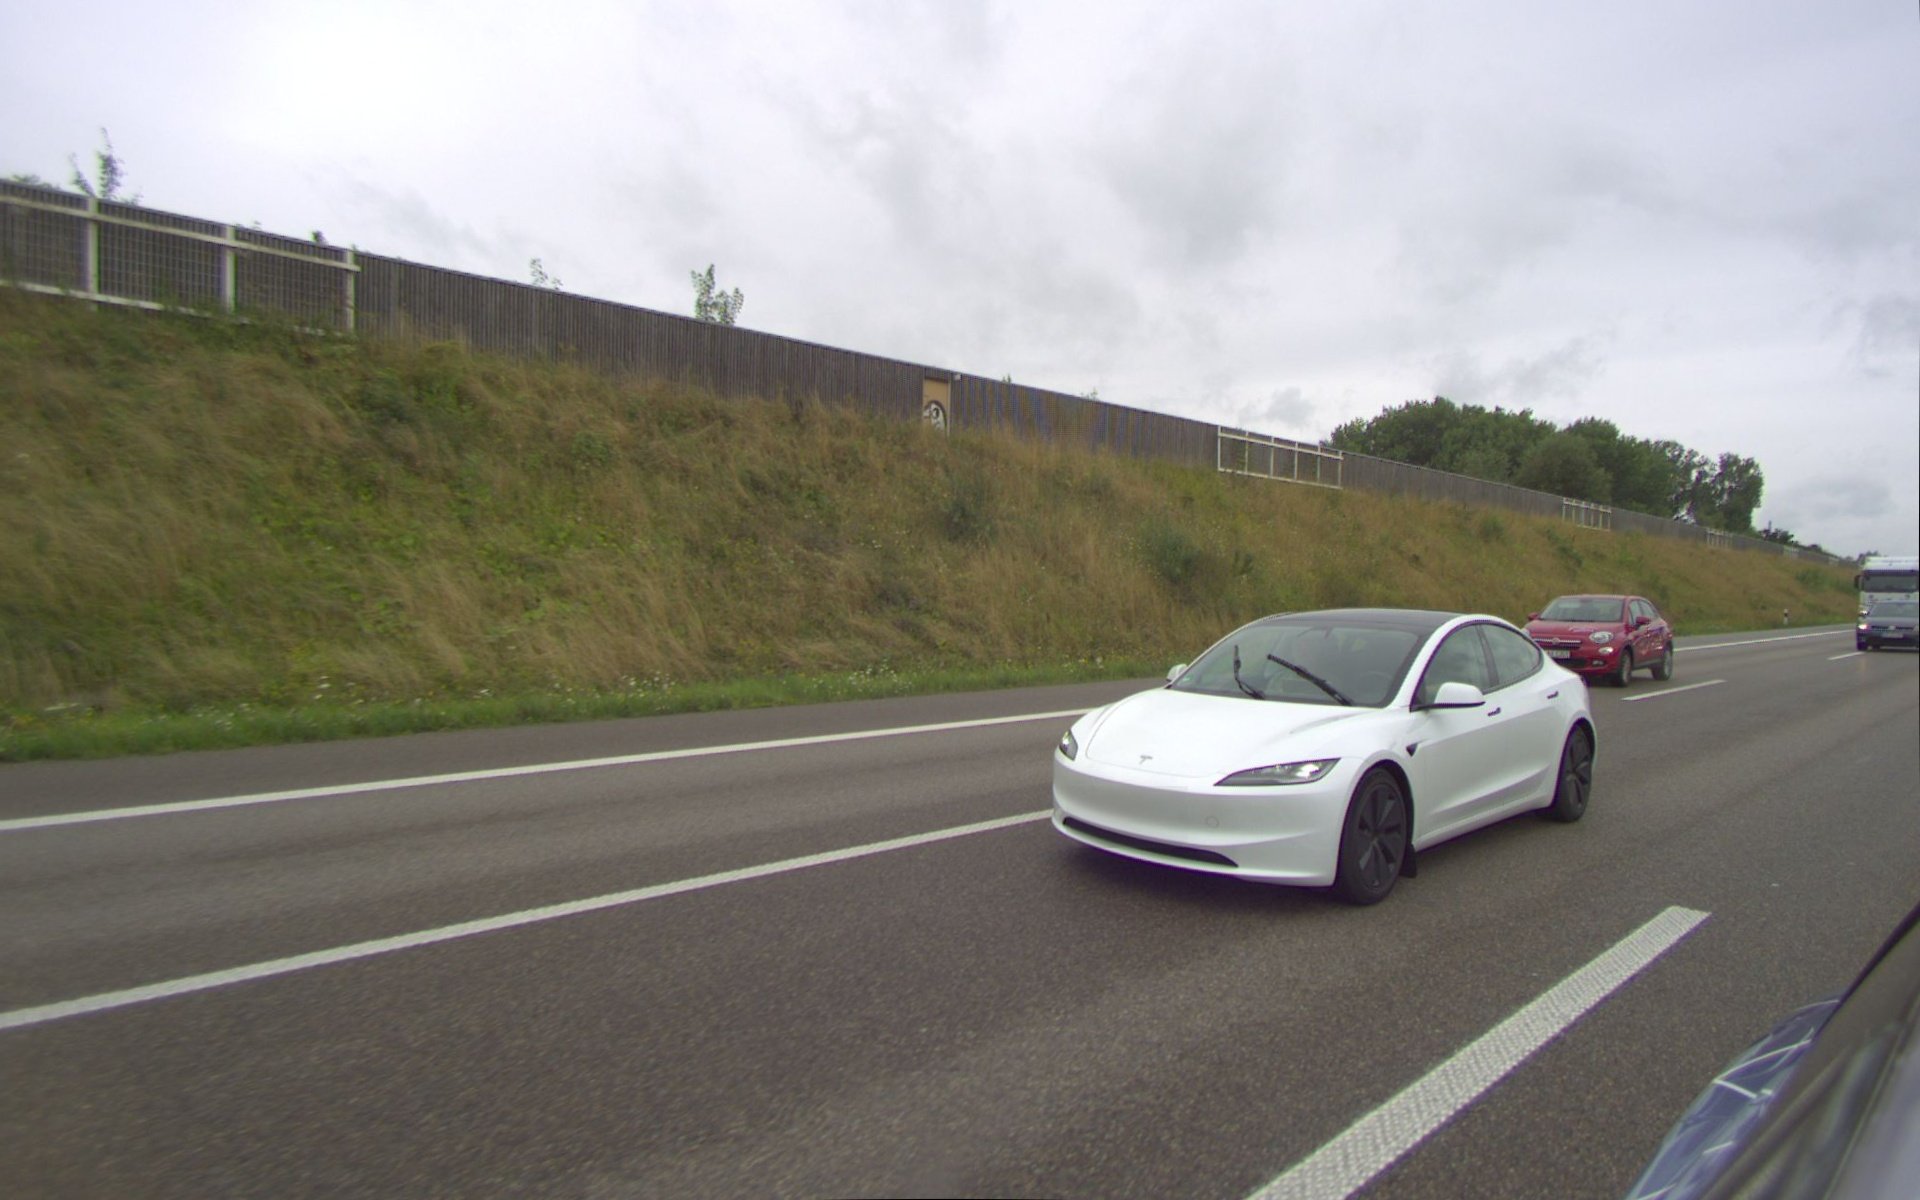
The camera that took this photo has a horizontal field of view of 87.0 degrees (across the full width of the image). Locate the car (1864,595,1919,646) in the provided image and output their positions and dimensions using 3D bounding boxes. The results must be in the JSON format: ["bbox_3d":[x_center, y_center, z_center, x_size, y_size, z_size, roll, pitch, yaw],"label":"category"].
[{"bbox_3d":[30.430,0.618,32.211,4.408,1.508,1.927,-1,0,-41],"label":"car"}]

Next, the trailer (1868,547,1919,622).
[{"bbox_3d":[57.455,-0.895,60.584,14.962,4.077,3.086,-1,0,-42],"label":"trailer"}]

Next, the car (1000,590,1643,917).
[{"bbox_3d":[2.612,0.631,6.573,4.729,1.380,1.877,-1,1,-41],"label":"car"}]

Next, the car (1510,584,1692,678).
[{"bbox_3d":[11.916,0.484,18.728,3.931,1.554,1.876,-1,0,-42],"label":"car"}]

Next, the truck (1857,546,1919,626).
[{"bbox_3d":[51.430,-0.758,55.152,6.837,4.077,3.086,-1,0,-42],"label":"truck"}]
